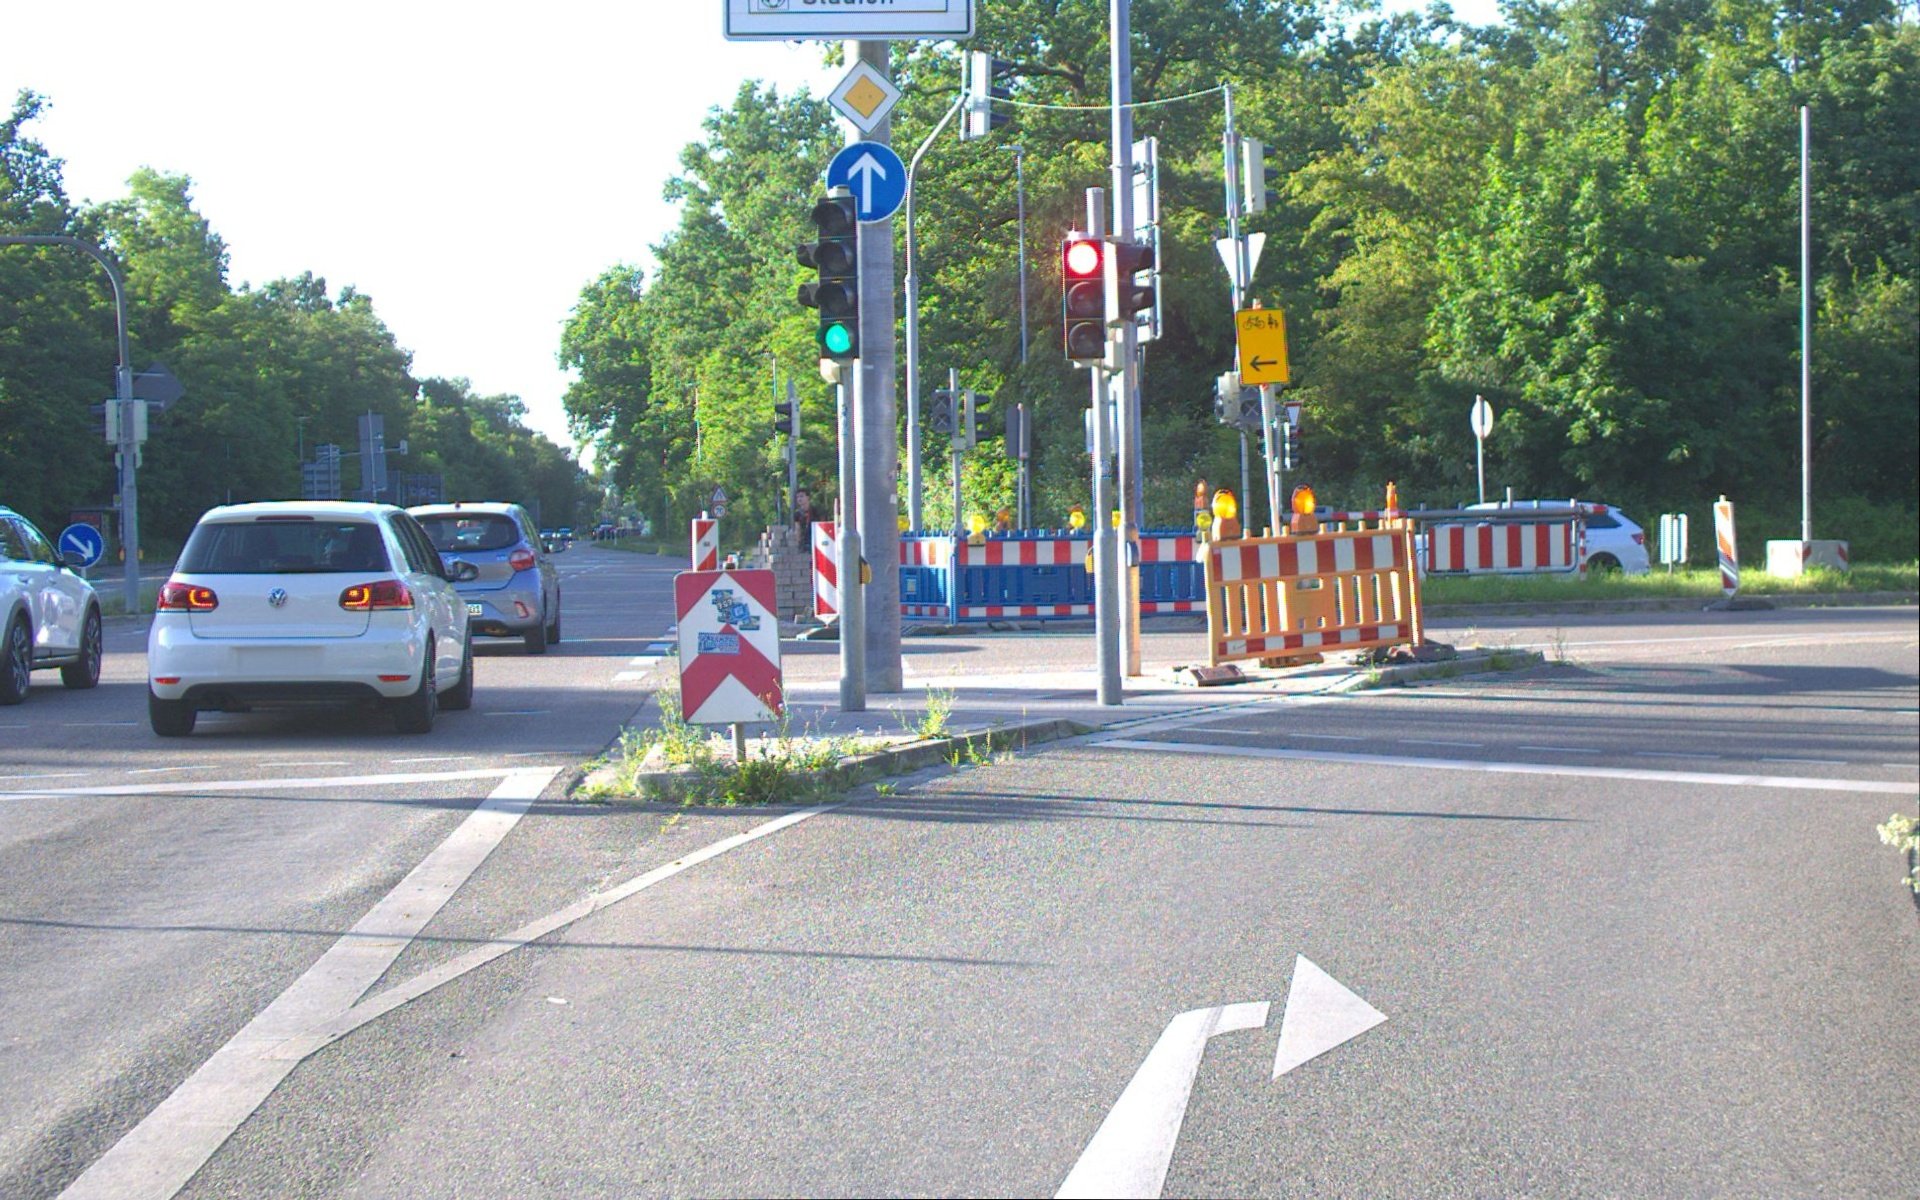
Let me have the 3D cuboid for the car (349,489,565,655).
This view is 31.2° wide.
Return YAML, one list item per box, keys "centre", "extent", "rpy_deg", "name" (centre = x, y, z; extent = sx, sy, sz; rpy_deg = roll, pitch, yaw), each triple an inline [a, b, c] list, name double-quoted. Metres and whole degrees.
- centre: [-5.005, -0.322, 34.665]
  extent: [1.993, 1.531, 4.001]
  rpy_deg: [-1, 2, -7]
  name: "car"

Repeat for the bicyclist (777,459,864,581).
- centre: [-2.218, -1.275, 54.646]
  extent: [1.013, 1.923, 0.968]
  rpy_deg: [-1, 2, -34]
  name: "bicyclist"

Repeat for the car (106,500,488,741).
- centre: [-4.261, 0.067, 22.691]
  extent: [1.940, 1.409, 4.001]
  rpy_deg: [-1, 2, -3]
  name: "car"

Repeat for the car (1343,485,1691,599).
- centre: [8.350, -0.883, 51.530]
  extent: [4.817, 1.575, 2.000]
  rpy_deg: [-2, 2, -24]
  name: "car"

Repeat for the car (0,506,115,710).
- centre: [-7.804, 0.009, 26.287]
  extent: [1.863, 1.439, 4.001]
  rpy_deg: [0, 1, -3]
  name: "car"
